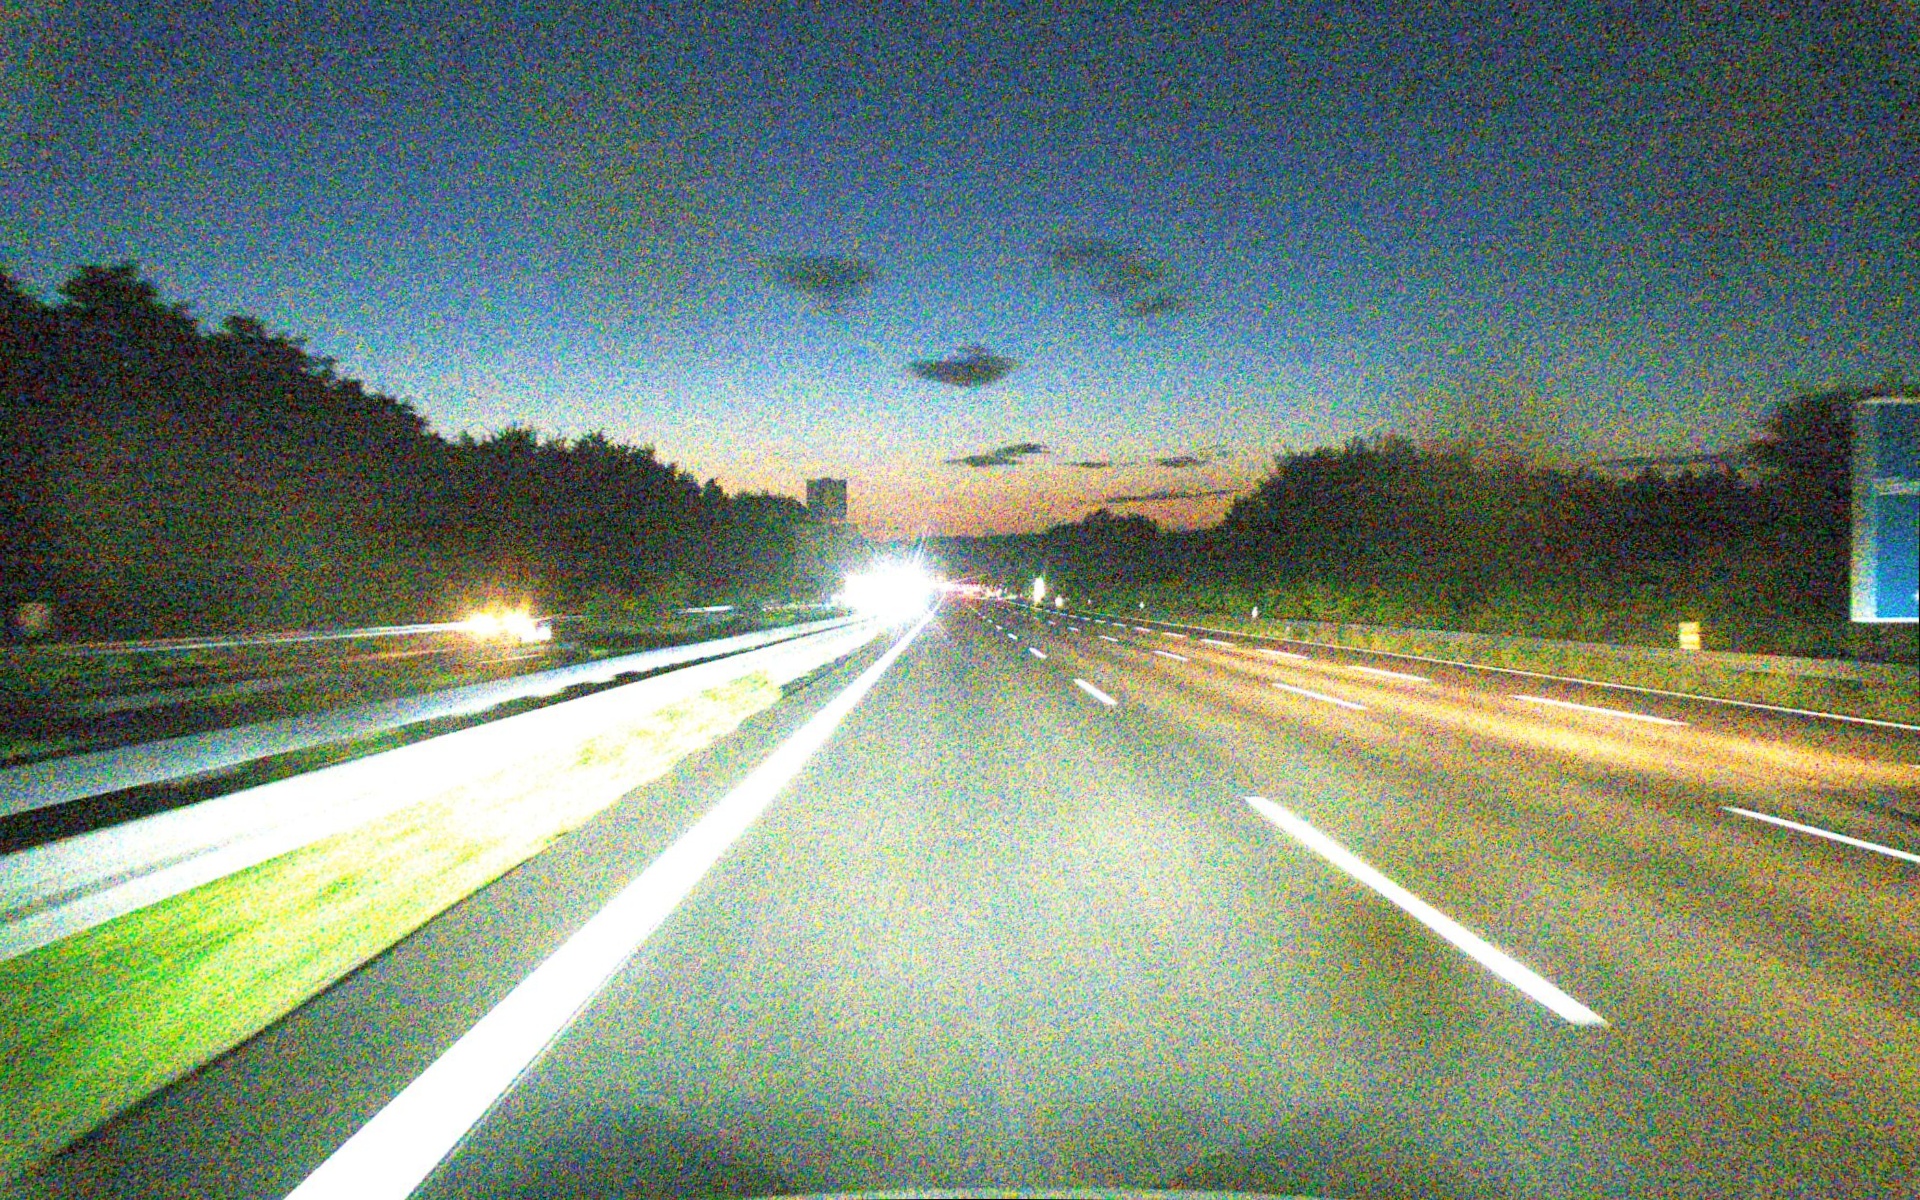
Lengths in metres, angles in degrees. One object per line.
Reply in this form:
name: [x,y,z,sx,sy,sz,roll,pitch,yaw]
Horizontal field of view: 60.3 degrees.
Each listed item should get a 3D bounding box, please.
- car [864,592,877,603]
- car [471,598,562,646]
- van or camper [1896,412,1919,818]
car: [-13.819,-0.384,255.406,1.954,1.486,4.689,-2,0,-3]
car: [-16.190,0.780,60.606,1.953,1.578,5.004,-3,0,-1]
van or camper: [7.841,0.145,8.384,2.162,2.820,6.802,1,0,-2]
